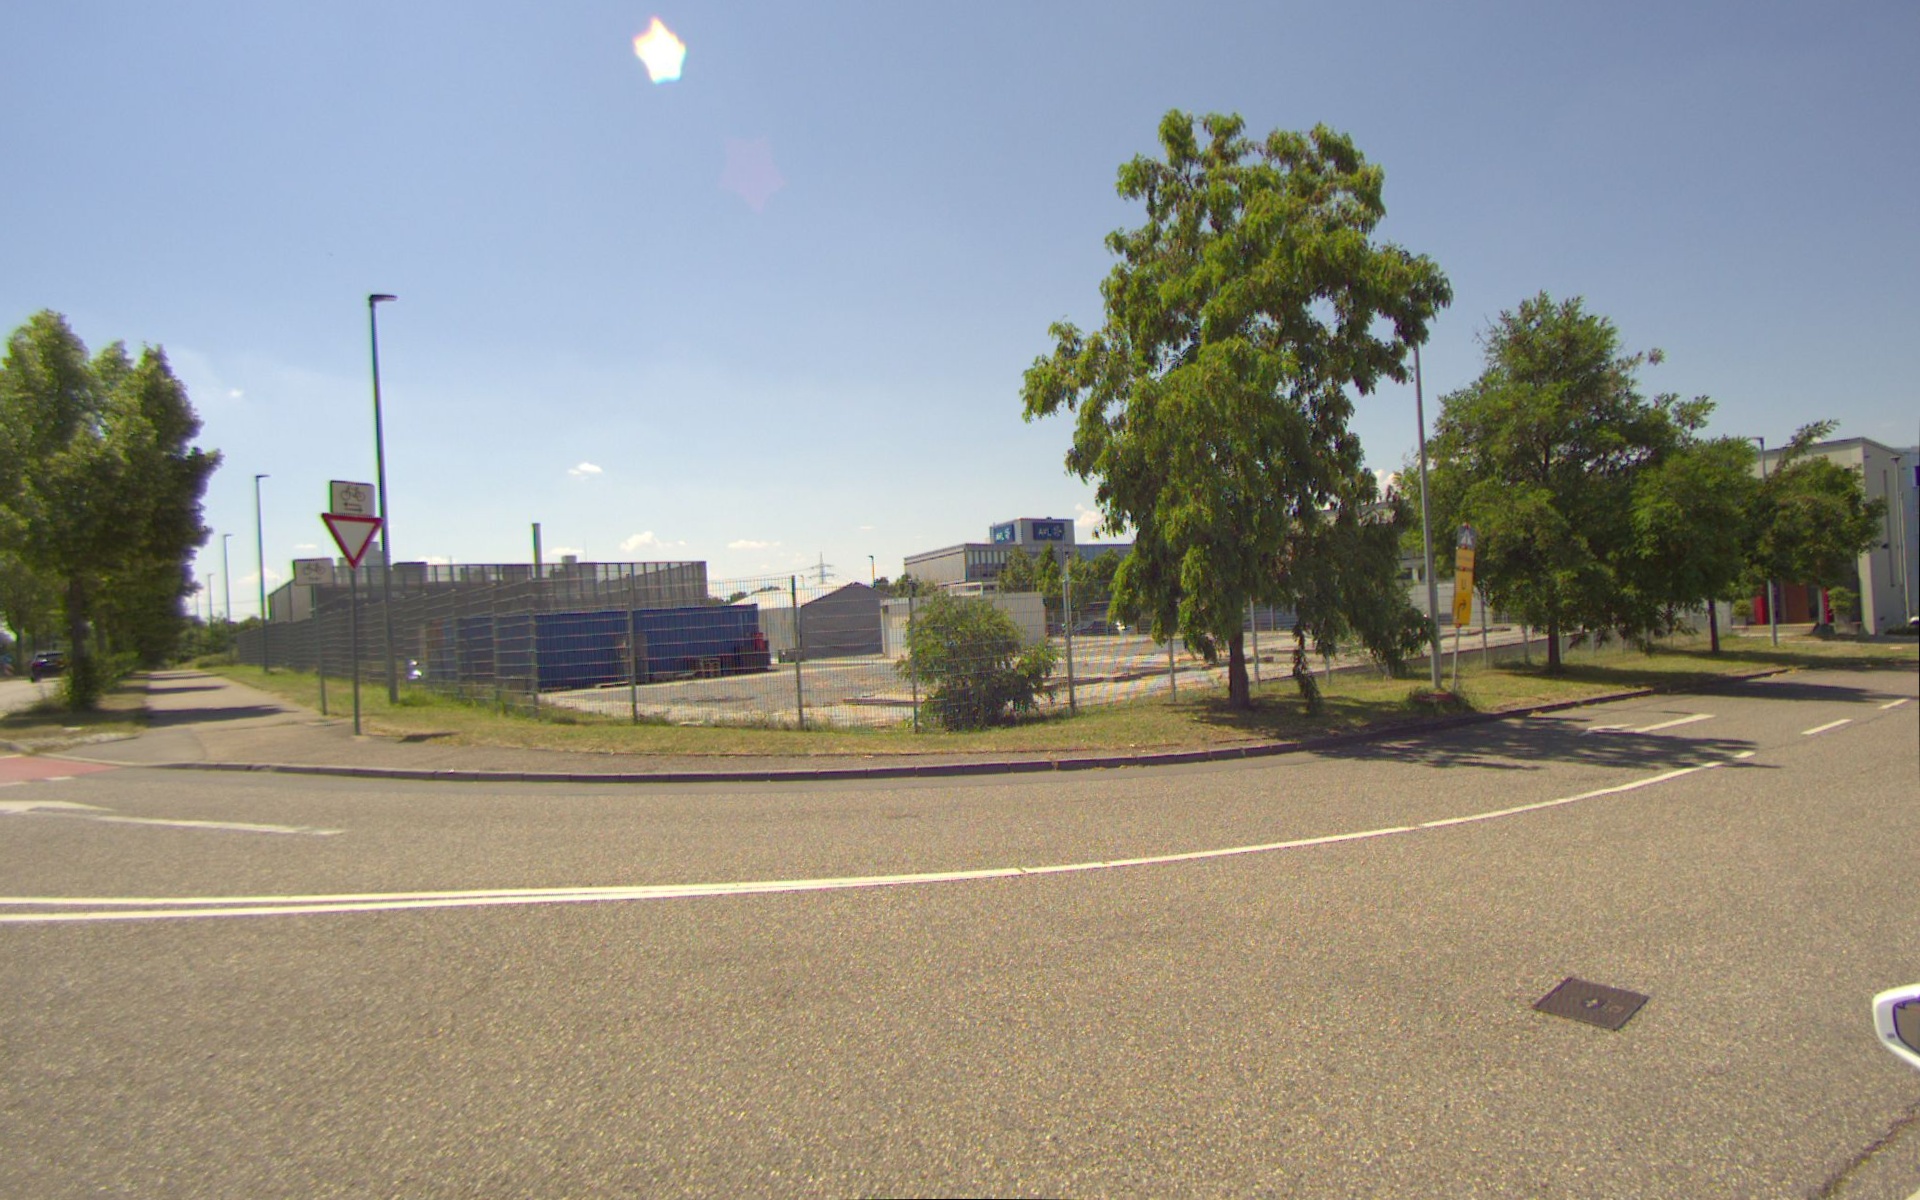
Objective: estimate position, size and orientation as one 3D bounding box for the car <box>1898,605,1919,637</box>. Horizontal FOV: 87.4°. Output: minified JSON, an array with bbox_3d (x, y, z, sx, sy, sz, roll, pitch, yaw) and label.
[{"bbox_3d":[48.135,0.944,48.465,1.715,1.514,4.012,0,-3,-41],"label":"car"}]

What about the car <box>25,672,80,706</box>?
[{"bbox_3d":[-51.081,5.004,56.614,1.853,1.656,4.551,-4,-1,-38],"label":"car"}]
